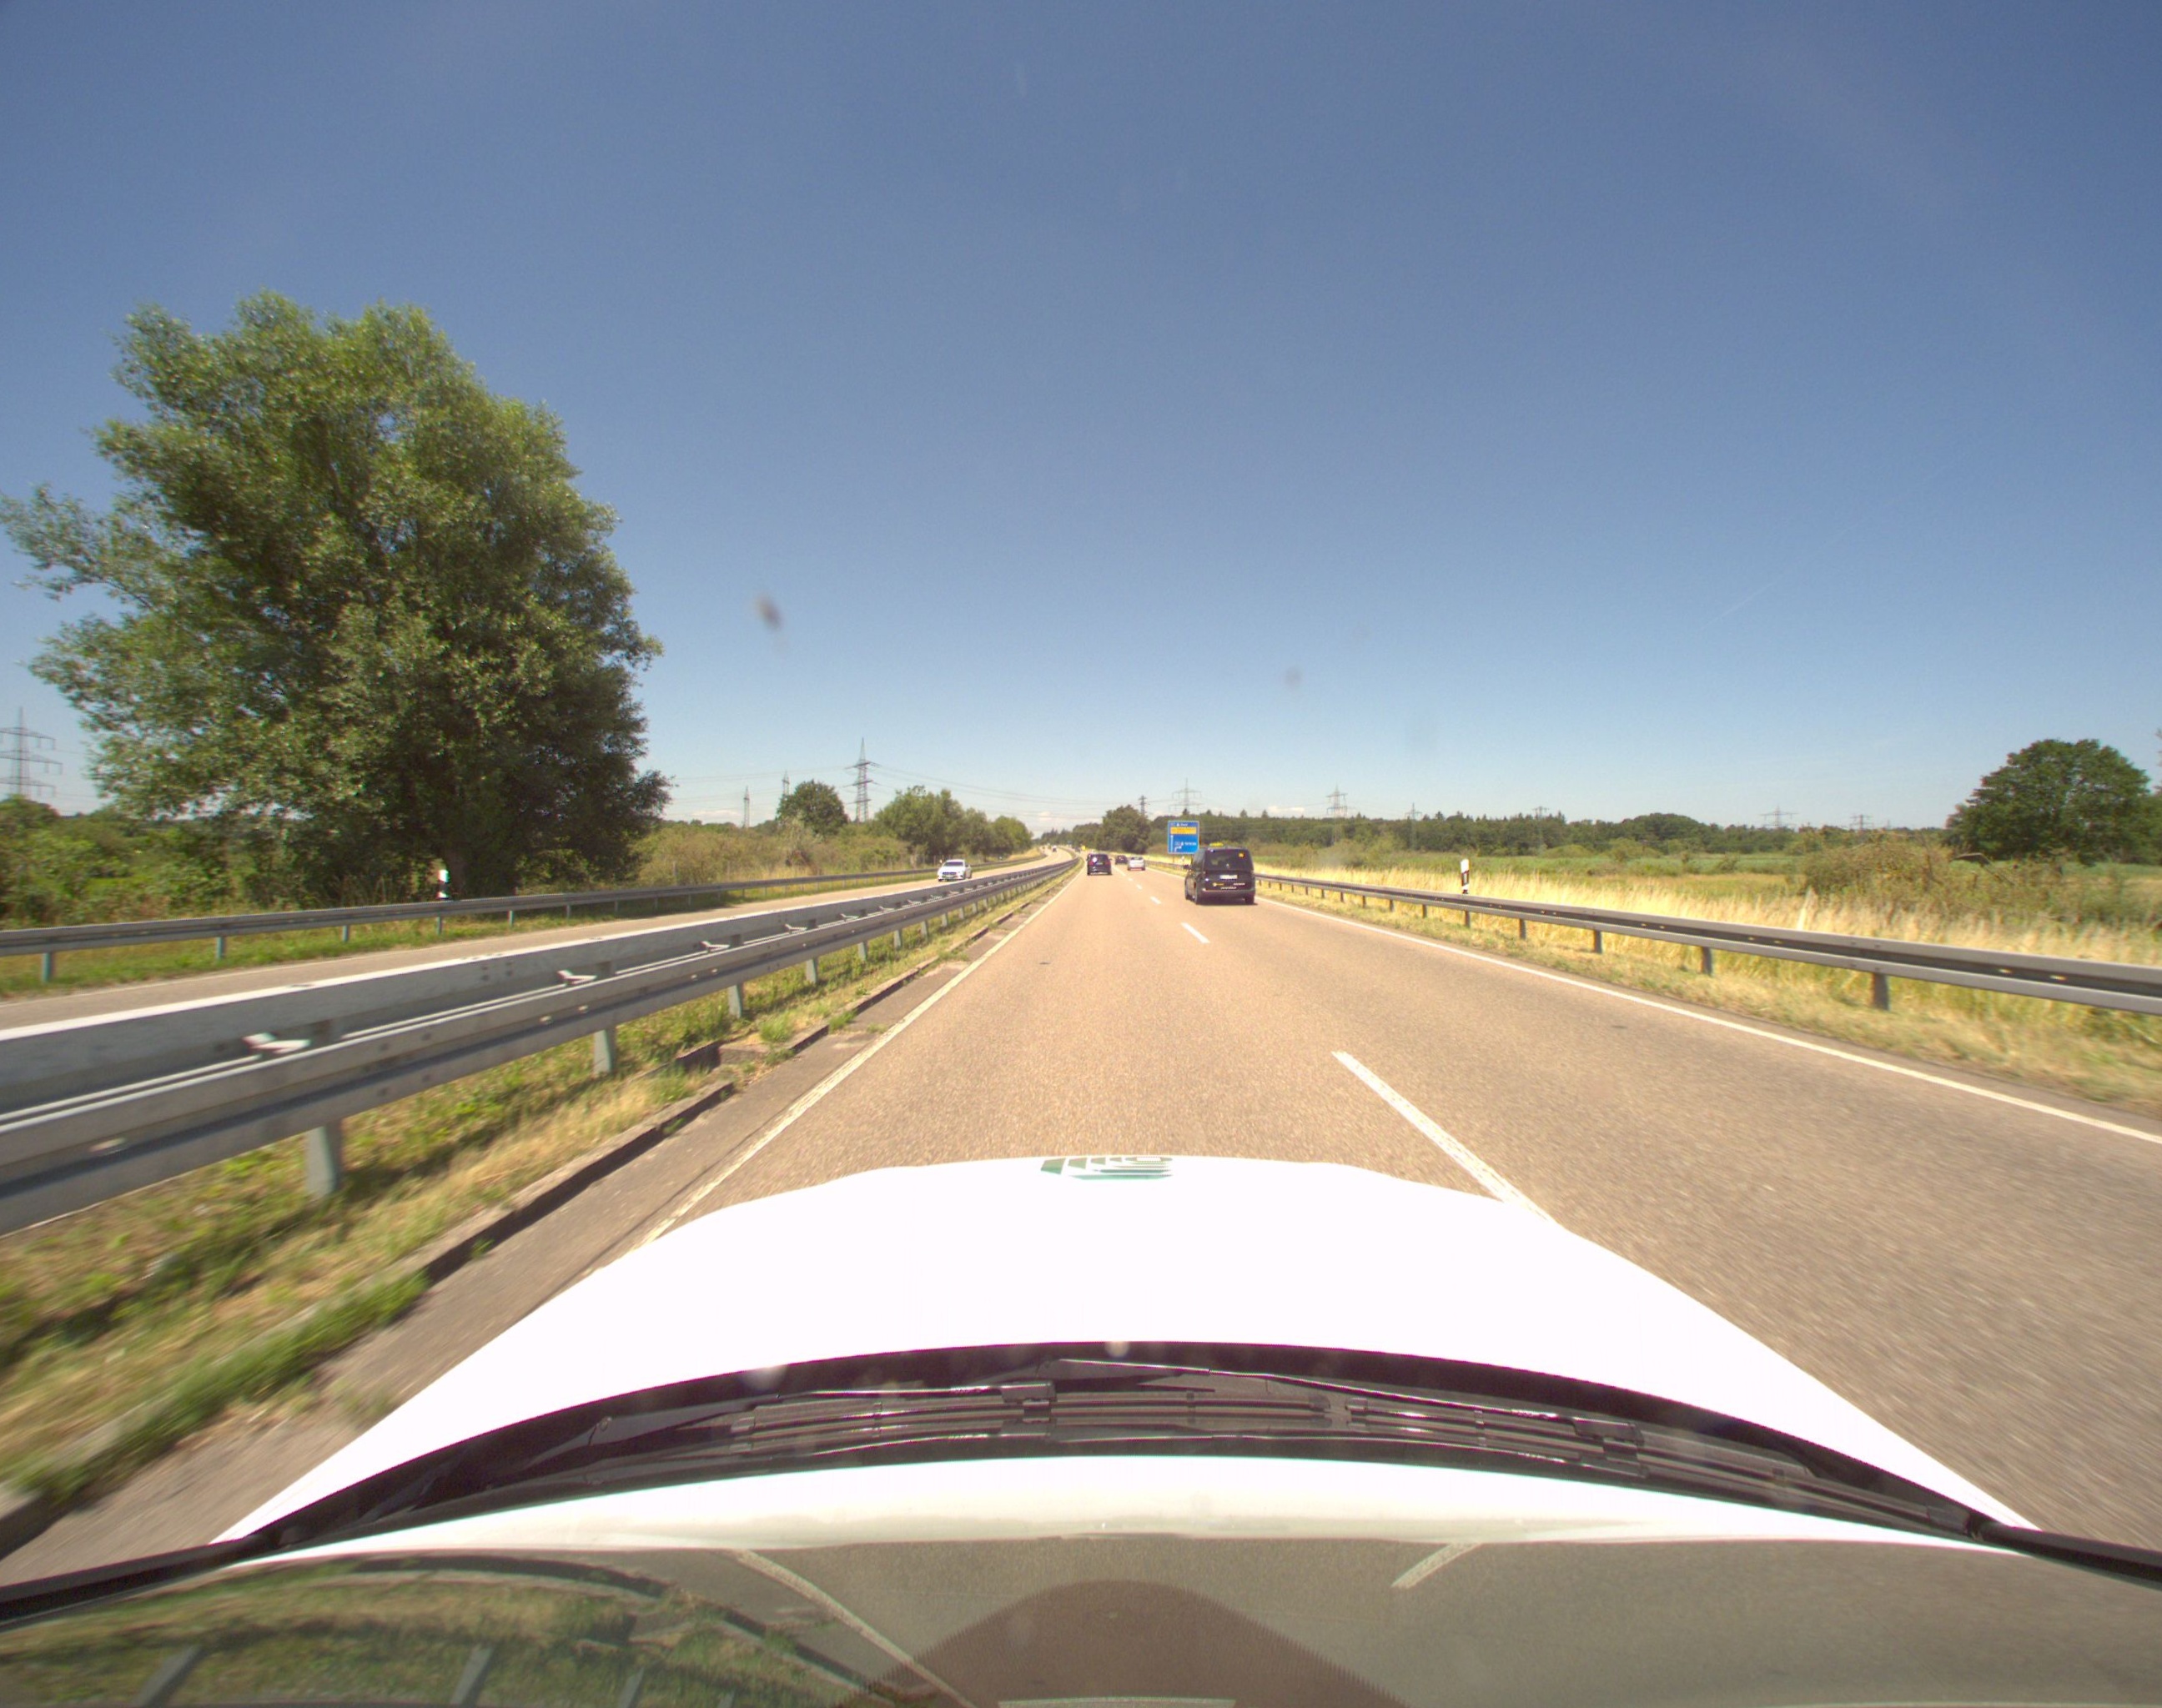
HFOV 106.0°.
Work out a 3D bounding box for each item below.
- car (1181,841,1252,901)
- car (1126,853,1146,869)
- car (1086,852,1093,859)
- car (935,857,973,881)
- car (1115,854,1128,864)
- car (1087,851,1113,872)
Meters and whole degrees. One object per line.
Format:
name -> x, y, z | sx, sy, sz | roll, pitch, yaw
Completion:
car -> 4.441, 0.515, 27.182 | 1.773, 1.817, 4.215 | -1, 0, 2
car -> 5.399, 0.668, 80.633 | 1.773, 1.479, 4.316 | 0, 0, 1
car -> 1.942, 0.399, 183.925 | 1.509, 1.475, 3.067 | 2, 0, 1
car -> -8.577, 0.972, 55.254 | 1.820, 1.497, 4.103 | 1, 0, 1
car -> 6.029, 0.686, 121.871 | 1.812, 1.414, 4.002 | -1, 0, 2
car -> 1.499, 0.598, 65.190 | 1.986, 1.654, 4.001 | 0, 0, 1
